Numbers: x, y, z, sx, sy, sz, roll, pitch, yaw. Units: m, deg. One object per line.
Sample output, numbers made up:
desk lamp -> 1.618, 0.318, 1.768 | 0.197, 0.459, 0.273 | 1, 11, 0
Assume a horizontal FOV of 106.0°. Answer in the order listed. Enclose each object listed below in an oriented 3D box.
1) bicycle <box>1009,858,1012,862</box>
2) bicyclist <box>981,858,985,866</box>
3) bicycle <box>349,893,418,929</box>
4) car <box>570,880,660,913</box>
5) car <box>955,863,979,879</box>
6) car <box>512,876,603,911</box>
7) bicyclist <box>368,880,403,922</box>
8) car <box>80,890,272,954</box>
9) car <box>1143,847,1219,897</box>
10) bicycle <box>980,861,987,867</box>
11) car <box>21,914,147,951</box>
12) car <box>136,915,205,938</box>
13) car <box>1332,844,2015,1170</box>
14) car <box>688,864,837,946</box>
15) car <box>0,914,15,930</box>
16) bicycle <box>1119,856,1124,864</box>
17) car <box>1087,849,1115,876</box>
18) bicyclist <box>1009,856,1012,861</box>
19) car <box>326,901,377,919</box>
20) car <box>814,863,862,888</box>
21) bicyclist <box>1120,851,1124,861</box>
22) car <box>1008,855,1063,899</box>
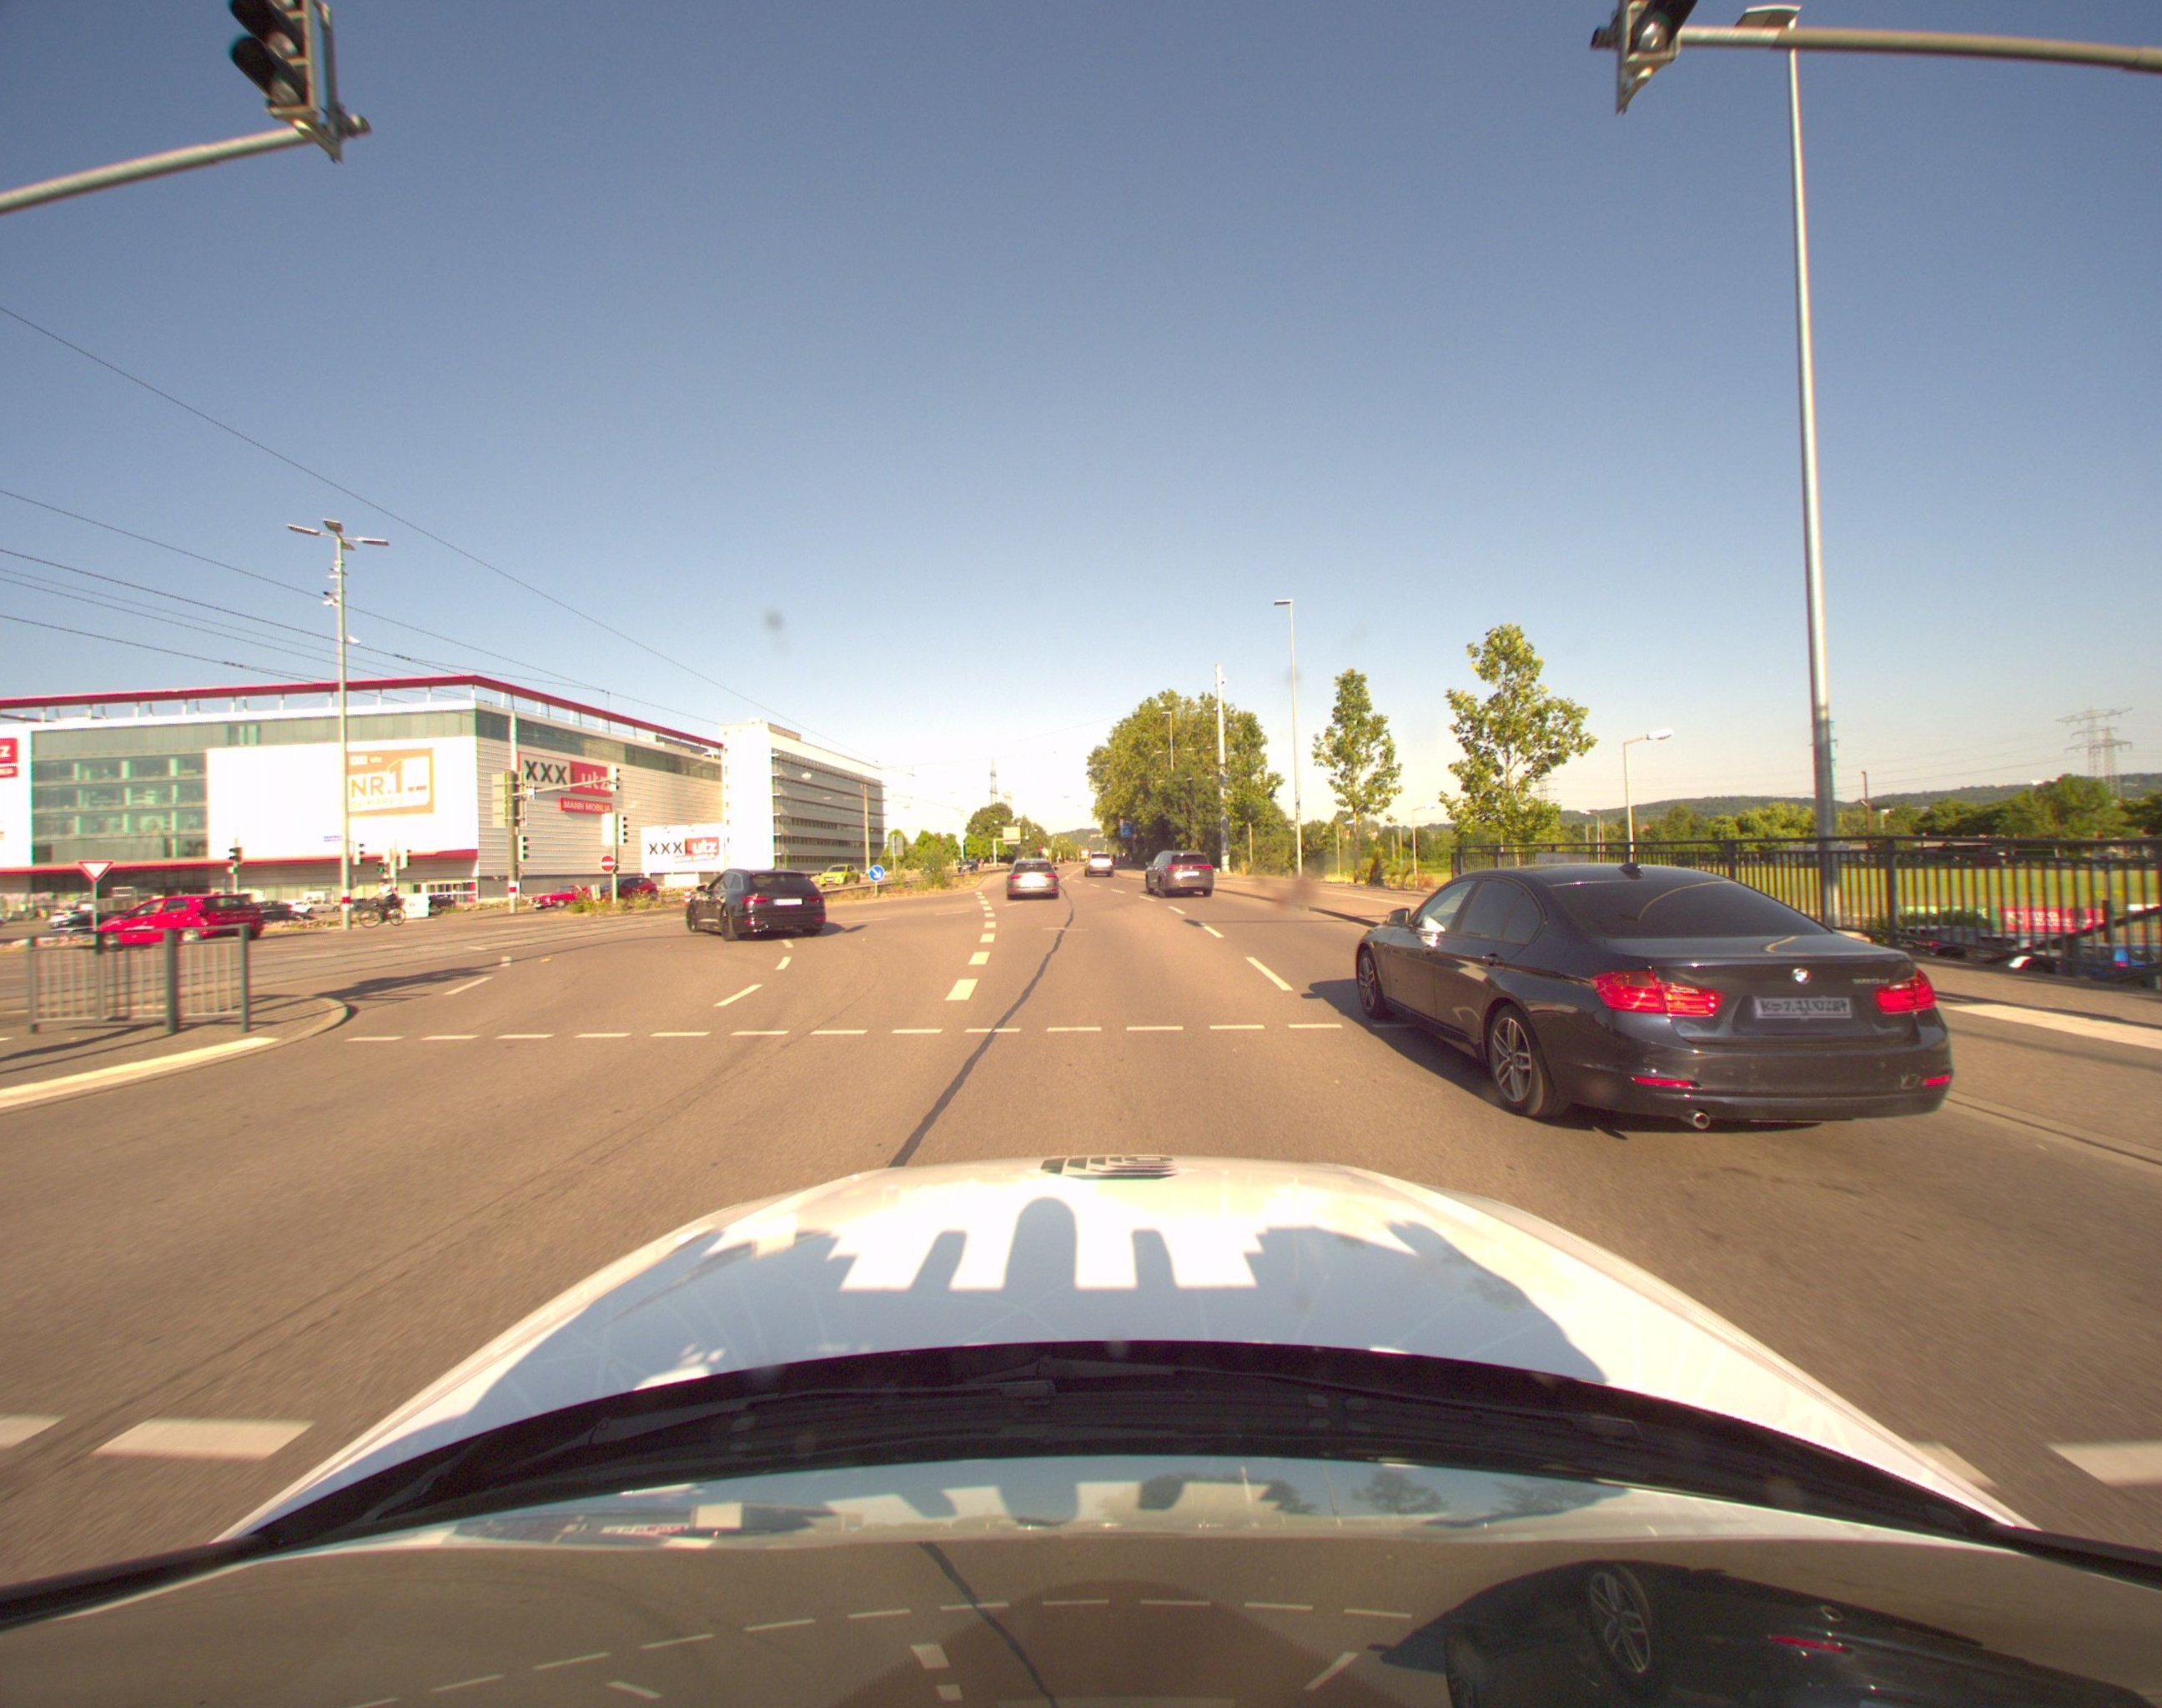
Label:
bicycle -> -18.293, 1.581, 210.835 | 0.622, 1.058, 1.705 | 0, 0, 3
bicyclist -> -19.649, 1.674, 163.729 | 0.657, 1.623, 0.804 | 0, 0, 12
bicycle -> -25.576, 2.083, 29.900 | 0.584, 1.168, 1.997 | 0, 0, 10
car -> -25.718, 2.311, 45.104 | 1.922, 1.476, 4.146 | -5, -1, 12
car -> -13.858, 2.041, 99.459 | 1.985, 1.655, 4.663 | -3, 0, 3
car -> -29.427, 2.197, 45.912 | 1.806, 1.642, 4.018 | -4, 0, 17
bicyclist -> -25.568, 1.714, 29.937 | 0.584, 1.522, 0.753 | 0, 0, 10
car -> -26.248, 1.956, 23.718 | 3.561, 1.460, 1.772 | -5, -1, 1
car -> 3.536, 0.590, 29.552 | 1.841, 1.661, 4.432 | -1, 0, -5
bicycle -> -19.627, 2.057, 163.836 | 0.656, 1.150, 2.029 | 0, 0, 12
car -> -58.126, 4.563, 47.631 | 1.988, 1.710, 4.414 | 0, 0, -2
car -> -86.946, 6.904, 77.837 | 1.986, 1.814, 4.002 | 0, 0, 2
car -> 3.382, 0.696, 5.990 | 1.858, 1.467, 4.590 | -1, 0, 3
car -> -6.870, 0.972, 17.314 | 1.930, 1.458, 4.046 | -1, 0, -37
car -> -111.881, 7.021, 82.757 | 1.869, 1.619, 3.995 | 0, 0, -3
bicycle -> 6.012, 0.830, 121.126 | 0.619, 1.120, 1.814 | -3, 0, 2
car -> 1.392, 0.568, 55.963 | 1.876, 1.795, 4.002 | 0, 0, 2
bicyclist -> -18.296, 1.214, 210.775 | 0.622, 1.374, 0.881 | 0, 0, 3
car -> -79.911, 6.117, 89.294 | 1.913, 1.702, 4.002 | 0, 0, 2
car -> -16.750, 1.458, 56.416 | 1.776, 1.447, 4.112 | -3, 0, 3
bicyclist -> 6.093, 0.292, 121.174 | 0.683, 1.509, 0.891 | -2, 0, 2
car -> -1.597, 0.800, 29.997 | 1.860, 1.467, 4.663 | 0, 0, -1
